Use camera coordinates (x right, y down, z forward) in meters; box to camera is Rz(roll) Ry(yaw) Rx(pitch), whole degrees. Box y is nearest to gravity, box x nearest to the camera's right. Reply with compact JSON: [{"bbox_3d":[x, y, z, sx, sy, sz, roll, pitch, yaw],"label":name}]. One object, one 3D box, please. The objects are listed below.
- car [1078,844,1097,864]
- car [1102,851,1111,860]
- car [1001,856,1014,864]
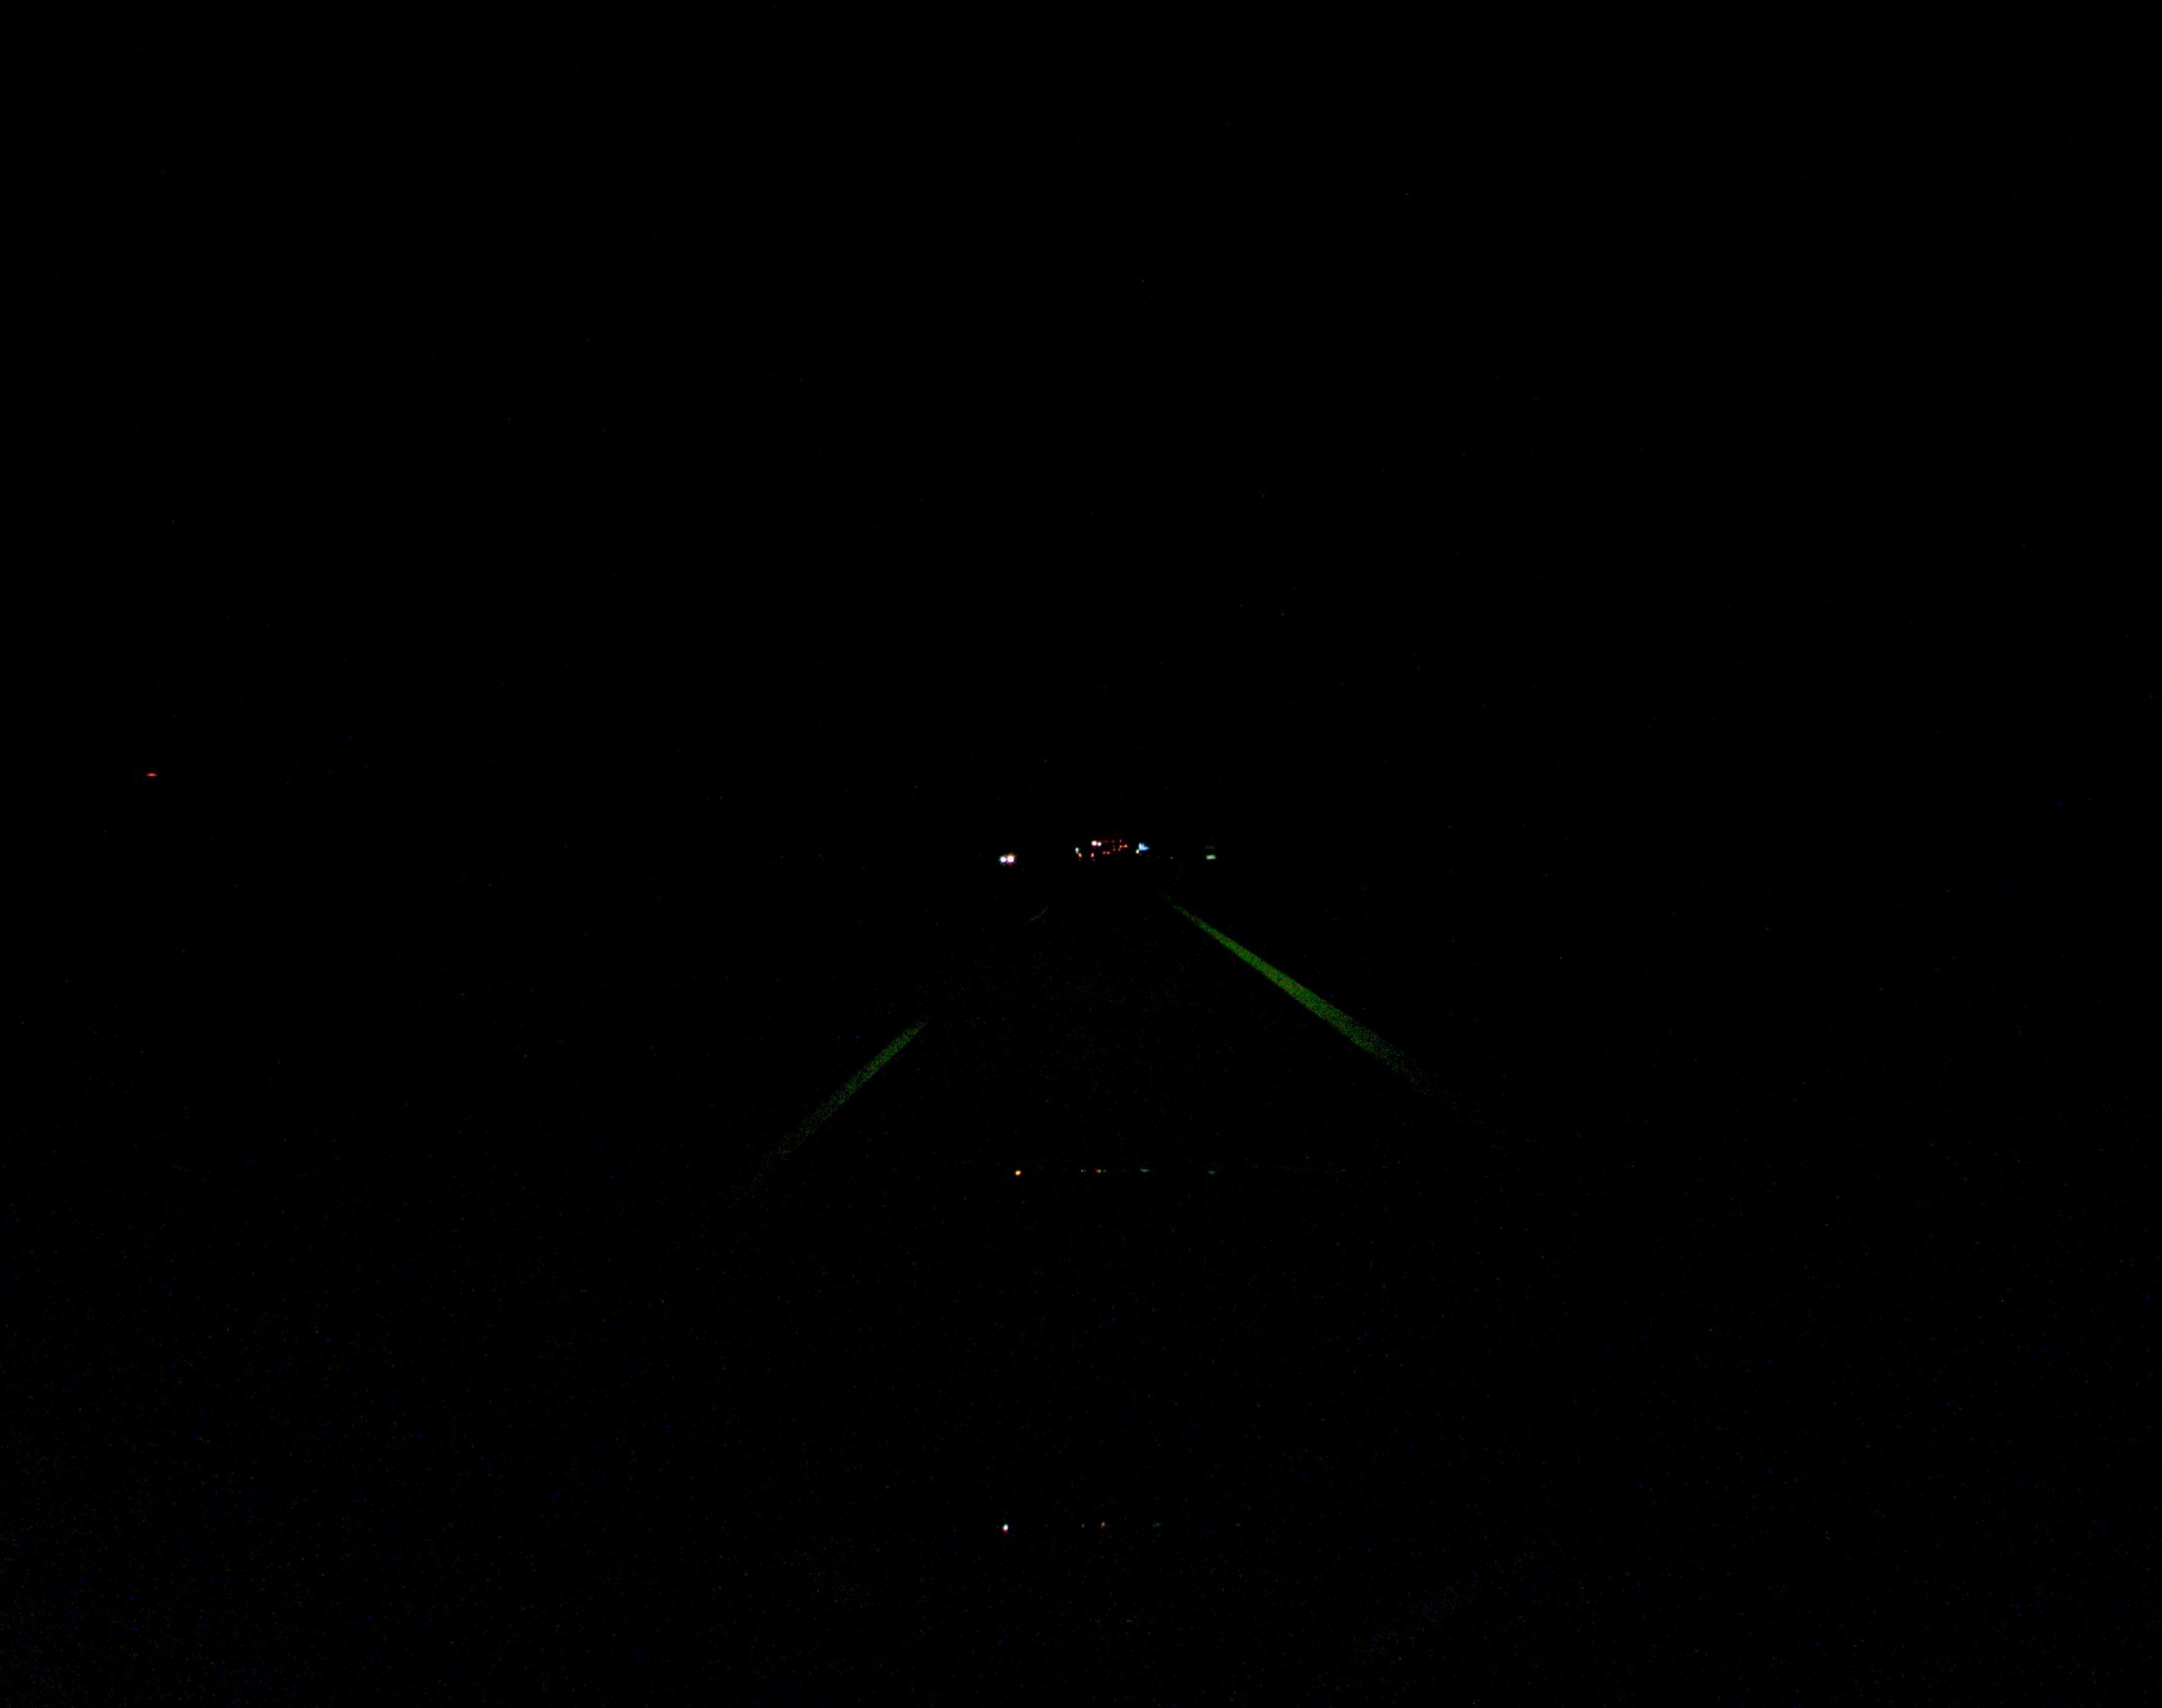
[{"bbox_3d":[0.957,0.006,120.758,2.778,2.733,6.297,-1,-1,0],"label":"car"},{"bbox_3d":[8.141,0.488,259.174,2.776,2.733,6.301,-1,-1,2],"label":"car"},{"bbox_3d":[-15.240,1.211,169.736,1.985,1.745,5.075,-1,0,2],"label":"car"}]
